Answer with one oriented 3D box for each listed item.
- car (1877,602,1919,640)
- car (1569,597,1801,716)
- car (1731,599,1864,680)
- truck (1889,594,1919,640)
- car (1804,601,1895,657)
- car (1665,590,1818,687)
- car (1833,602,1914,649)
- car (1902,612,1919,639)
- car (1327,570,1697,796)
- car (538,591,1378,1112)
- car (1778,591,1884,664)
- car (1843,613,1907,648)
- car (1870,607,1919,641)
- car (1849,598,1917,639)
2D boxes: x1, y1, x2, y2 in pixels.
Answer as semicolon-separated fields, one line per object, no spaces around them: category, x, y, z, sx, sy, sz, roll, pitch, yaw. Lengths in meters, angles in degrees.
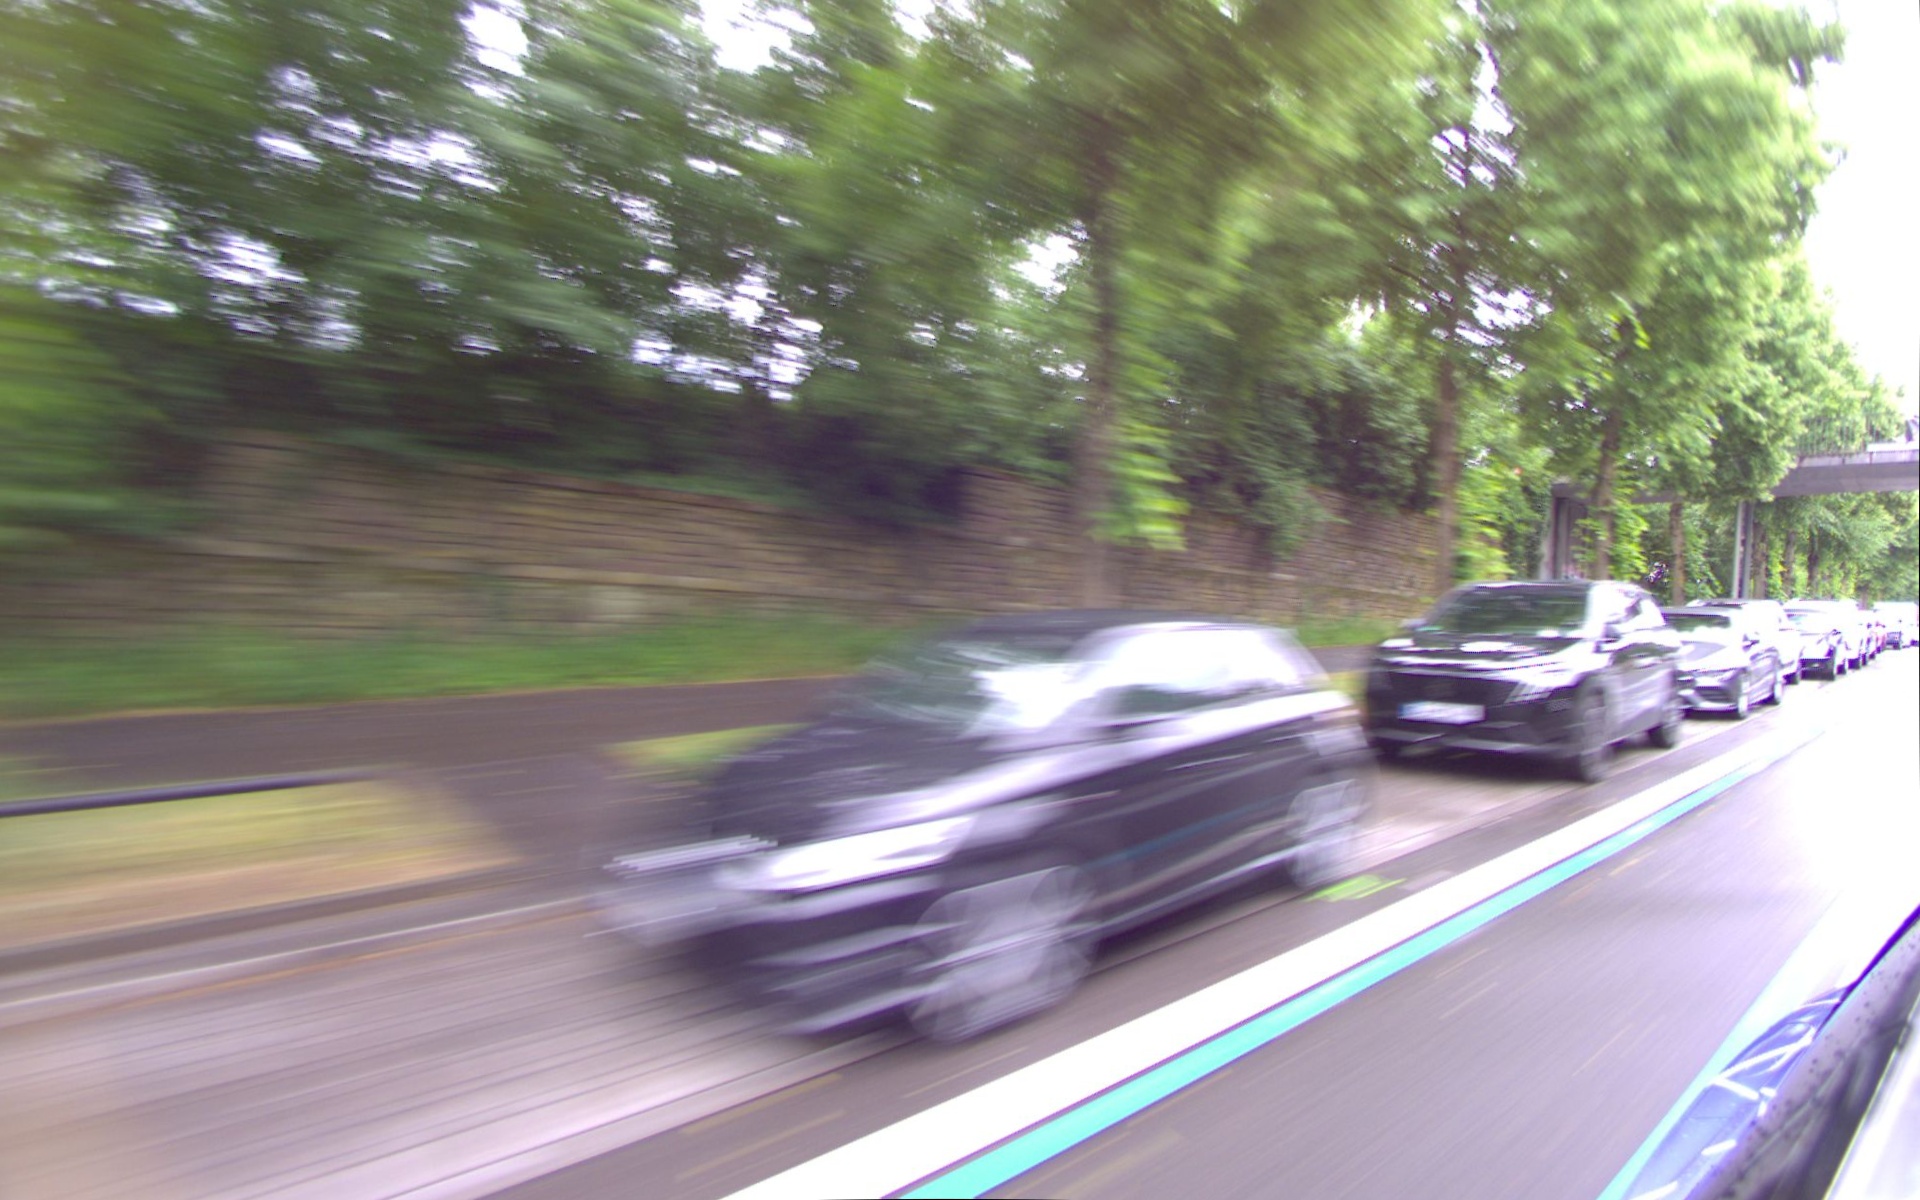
car;47.367;1.080;50.780;4.273;1.813;1.723;3;-1;-45
car;10.246;0.669;14.170;4.390;1.365;1.777;-1;1;-42
car;17.712;0.738;21.334;4.485;1.393;1.719;-2;2;-45
truck;51.436;0.939;54.594;3.934;2.363;1.720;3;-1;-45
car;25.703;0.781;29.189;4.378;1.411;1.674;-1;2;-45
car;14.042;0.605;18.114;3.679;1.554;1.662;0;0;-44
car;30.754;0.880;34.154;1.554;1.485;3.578;1;-2;35
car;59.989;1.644;62.939;1.753;1.605;4.350;2;-1;39
car;5.421;0.556;9.672;1.994;1.665;4.278;1;2;45
car;0.303;0.686;4.798;3.934;1.393;1.680;-1;2;-44
car;21.736;0.628;25.203;1.714;1.639;4.192;2;1;44
car;34.811;1.164;38.469;1.626;1.205;4.115;2;-1;45
car;42.585;1.112;45.865;4.540;1.444;1.661;2;-1;-44
car;38.409;0.798;42.135;1.993;1.580;4.570;2;-1;43
